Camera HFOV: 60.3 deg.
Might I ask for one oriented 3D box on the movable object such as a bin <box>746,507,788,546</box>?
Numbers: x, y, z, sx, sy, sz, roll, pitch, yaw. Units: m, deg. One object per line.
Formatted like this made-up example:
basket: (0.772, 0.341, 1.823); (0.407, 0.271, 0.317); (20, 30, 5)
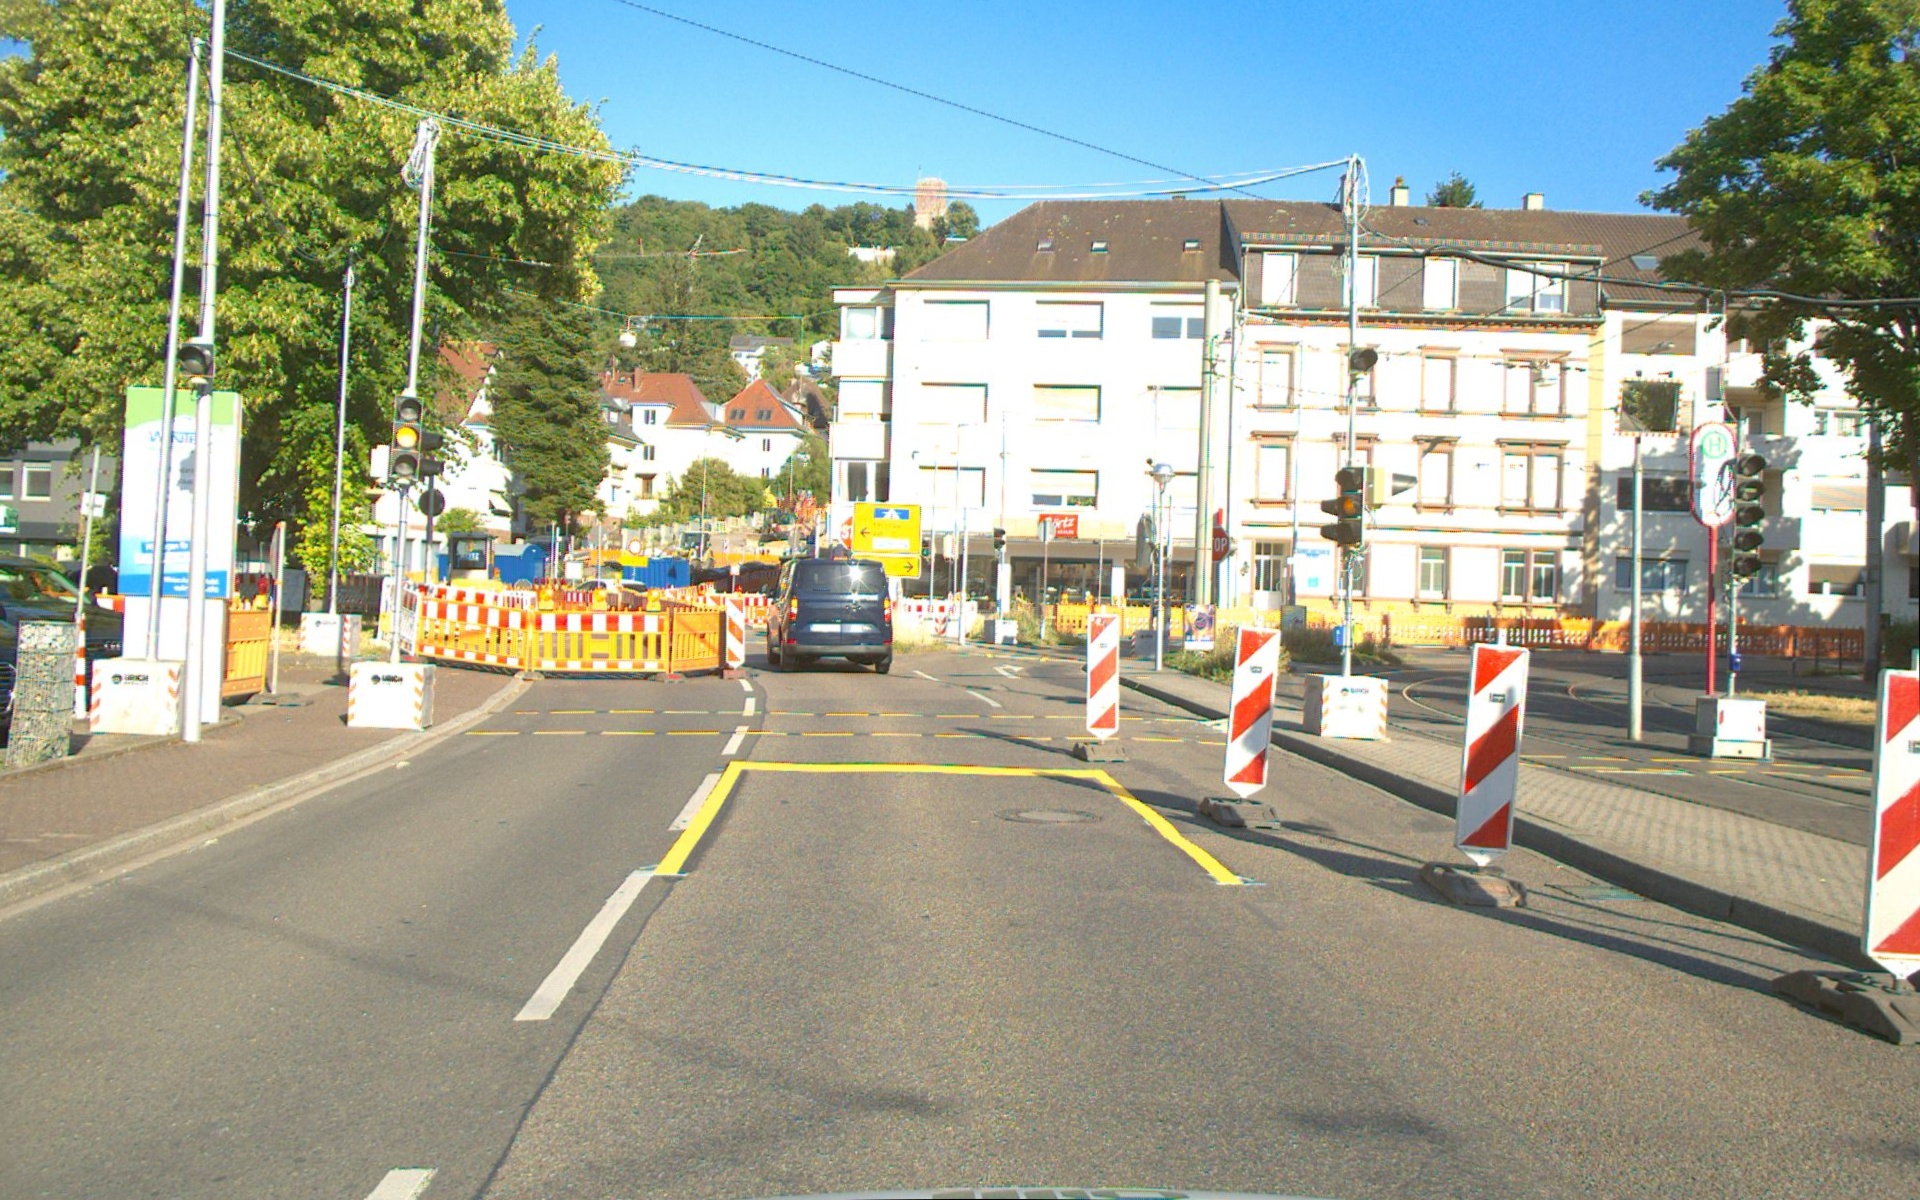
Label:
movable object such as a bin: (-14.464, -5.482, 124.021); (2.144, 2.737, 4.003); (2, 0, 8)

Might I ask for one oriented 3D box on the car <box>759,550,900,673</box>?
car: (-2.513, 0.176, 30.625); (2.025, 2.049, 4.987); (2, 0, -11)

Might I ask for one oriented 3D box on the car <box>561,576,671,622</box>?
car: (-11.284, -0.037, 54.082); (1.785, 1.434, 3.939); (1, 0, -42)

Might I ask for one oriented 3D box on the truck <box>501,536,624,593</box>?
truck: (-18.757, -1.595, 78.685); (2.306, 2.458, 9.159); (2, 0, 9)

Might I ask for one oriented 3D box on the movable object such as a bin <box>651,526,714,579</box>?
movable object such as a bin: (-14.970, -2.532, 89.418); (2.144, 2.737, 4.003); (2, 0, 8)

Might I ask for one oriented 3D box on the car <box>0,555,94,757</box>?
car: (-8.855, 0.330, 13.435); (4.239, 1.480, 1.898); (3, 0, 43)

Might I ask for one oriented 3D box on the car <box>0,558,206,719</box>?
car: (-9.928, 0.329, 17.744); (4.220, 1.480, 1.642); (3, 0, 40)
